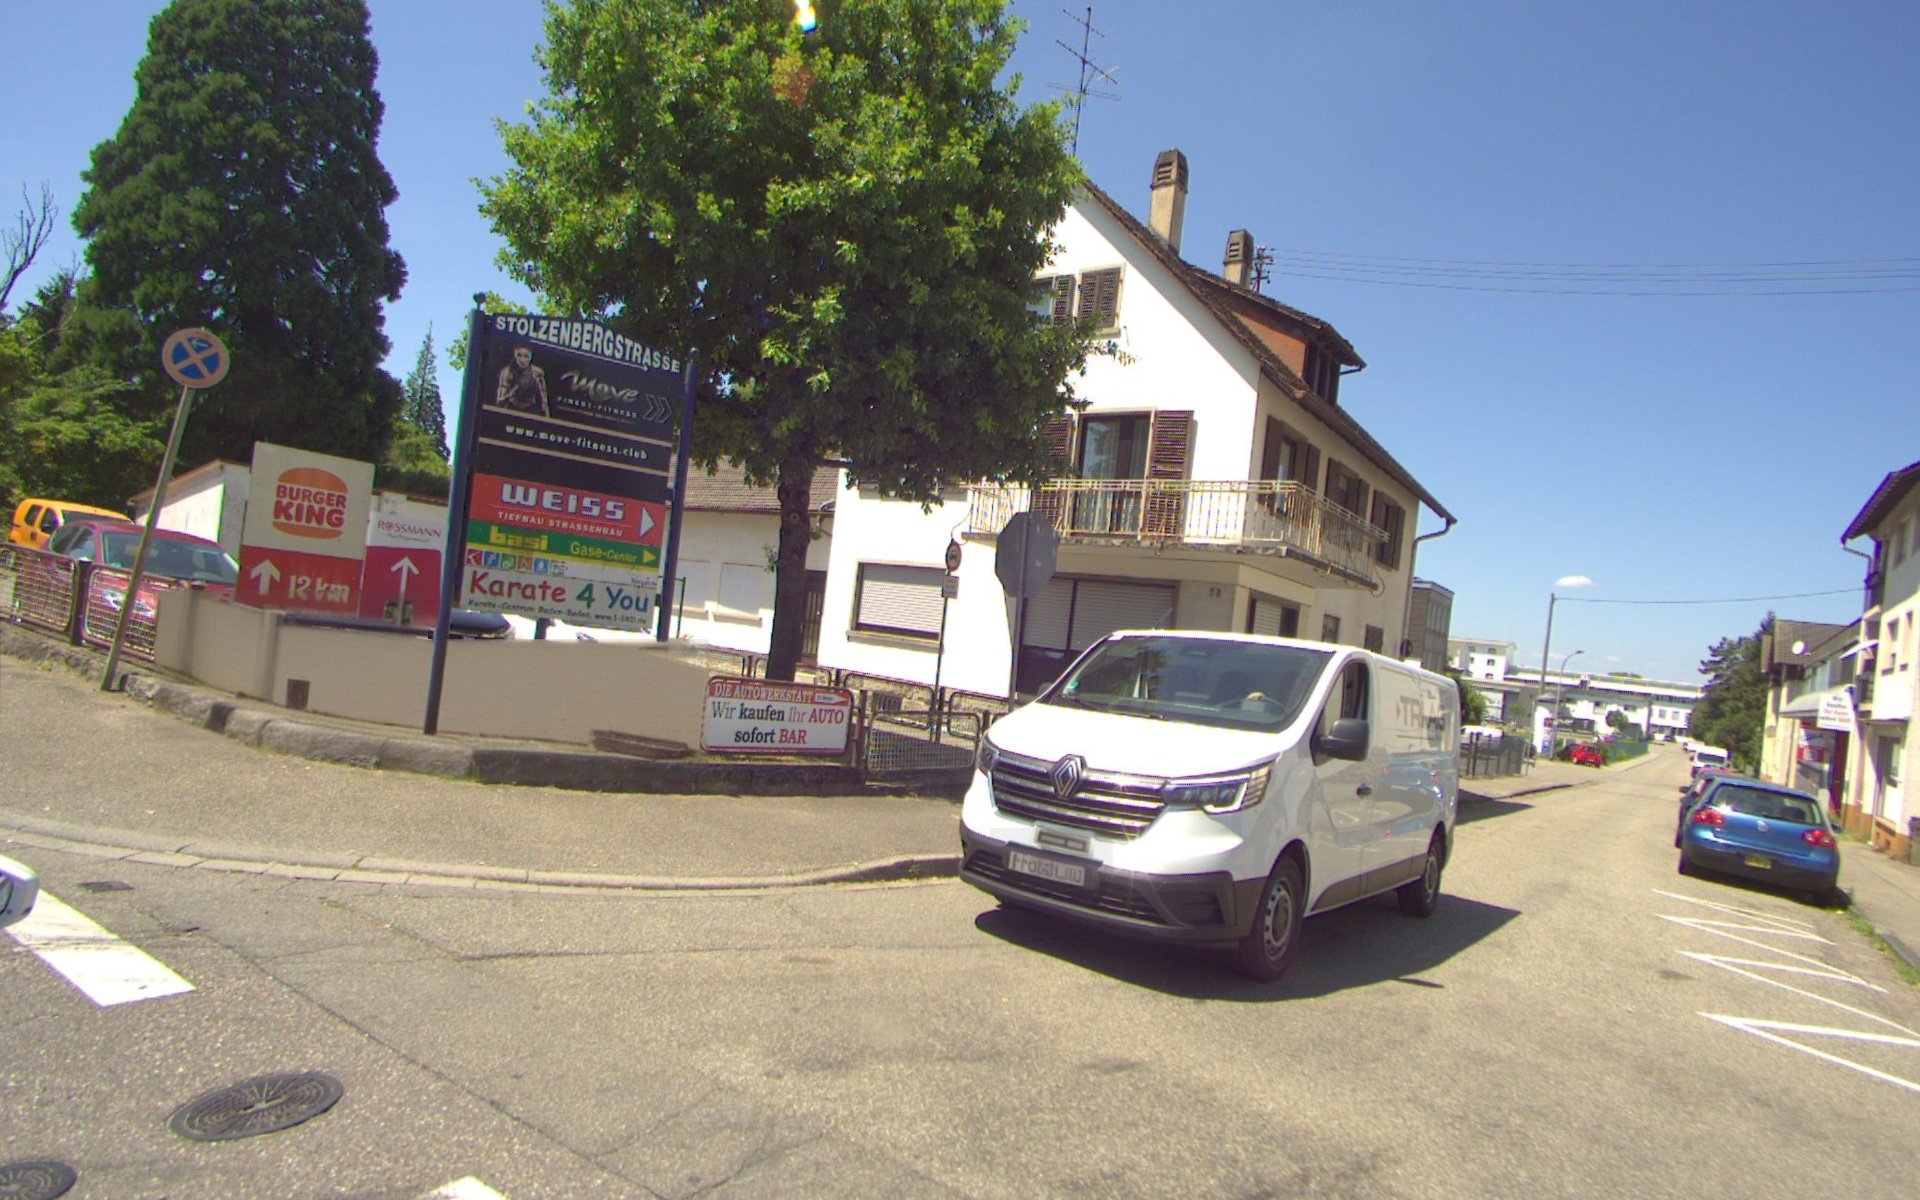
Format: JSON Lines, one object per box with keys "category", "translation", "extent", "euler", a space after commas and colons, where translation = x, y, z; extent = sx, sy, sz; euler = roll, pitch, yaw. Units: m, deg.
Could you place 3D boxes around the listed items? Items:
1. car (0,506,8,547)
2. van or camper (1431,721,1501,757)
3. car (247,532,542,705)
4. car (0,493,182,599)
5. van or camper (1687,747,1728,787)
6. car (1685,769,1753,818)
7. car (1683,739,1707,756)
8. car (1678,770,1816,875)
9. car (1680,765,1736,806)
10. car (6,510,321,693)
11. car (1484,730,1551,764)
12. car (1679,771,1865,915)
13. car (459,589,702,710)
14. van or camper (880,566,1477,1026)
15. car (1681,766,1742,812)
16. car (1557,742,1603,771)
{"category": "car", "translation": [-21.705, -1.414, 21.180], "extent": [3.340, 1.559, 1.635], "euler": [6, -5, 36]}
{"category": "van or camper", "translation": [35.136, 9.653, 69.981], "extent": [3.839, 1.795, 1.806], "euler": [8, -3, 11]}
{"category": "car", "translation": [-7.515, 0.180, 13.193], "extent": [4.395, 1.684, 1.712], "euler": [6, -3, 39]}
{"category": "car", "translation": [-20.060, -1.247, 23.078], "extent": [4.093, 1.818, 1.782], "euler": [6, -5, 28]}
{"category": "van or camper", "translation": [57.548, 12.845, 77.496], "extent": [2.192, 2.627, 5.022], "euler": [7, -3, 37]}
{"category": "car", "translation": [31.003, 7.873, 41.174], "extent": [1.799, 1.562, 3.397], "euler": [7, -3, 33]}
{"category": "car", "translation": [119.971, 24.082, 164.314], "extent": [2.615, 2.371, 5.150], "euler": [7, -3, 33]}
{"category": "car", "translation": [14.959, 4.149, 19.270], "extent": [1.788, 1.459, 3.621], "euler": [7, -3, 37]}
{"category": "car", "translation": [35.887, 8.874, 48.344], "extent": [1.799, 1.562, 3.397], "euler": [7, -3, 33]}
{"category": "car", "translation": [-8.842, -0.023, 11.082], "extent": [3.781, 1.542, 1.712], "euler": [6, -1, 37]}
{"category": "car", "translation": [39.468, 10.390, 71.317], "extent": [1.737, 1.769, 3.735], "euler": [9, -3, -22]}
{"category": "car", "translation": [11.781, 3.431, 14.812], "extent": [1.788, 1.459, 3.889], "euler": [7, -4, 37]}
{"category": "car", "translation": [-5.618, 0.713, 14.807], "extent": [3.333, 1.285, 1.713], "euler": [6, -2, 37]}
{"category": "van or camper", "translation": [2.029, 1.213, 7.228], "extent": [1.971, 1.999, 5.350], "euler": [4, -5, 37]}
{"category": "car", "translation": [33.293, 8.340, 44.663], "extent": [1.799, 1.562, 3.397], "euler": [7, -3, 33]}
{"category": "car", "translation": [44.461, 11.194, 72.183], "extent": [1.773, 1.673, 3.905], "euler": [7, -3, 18]}
